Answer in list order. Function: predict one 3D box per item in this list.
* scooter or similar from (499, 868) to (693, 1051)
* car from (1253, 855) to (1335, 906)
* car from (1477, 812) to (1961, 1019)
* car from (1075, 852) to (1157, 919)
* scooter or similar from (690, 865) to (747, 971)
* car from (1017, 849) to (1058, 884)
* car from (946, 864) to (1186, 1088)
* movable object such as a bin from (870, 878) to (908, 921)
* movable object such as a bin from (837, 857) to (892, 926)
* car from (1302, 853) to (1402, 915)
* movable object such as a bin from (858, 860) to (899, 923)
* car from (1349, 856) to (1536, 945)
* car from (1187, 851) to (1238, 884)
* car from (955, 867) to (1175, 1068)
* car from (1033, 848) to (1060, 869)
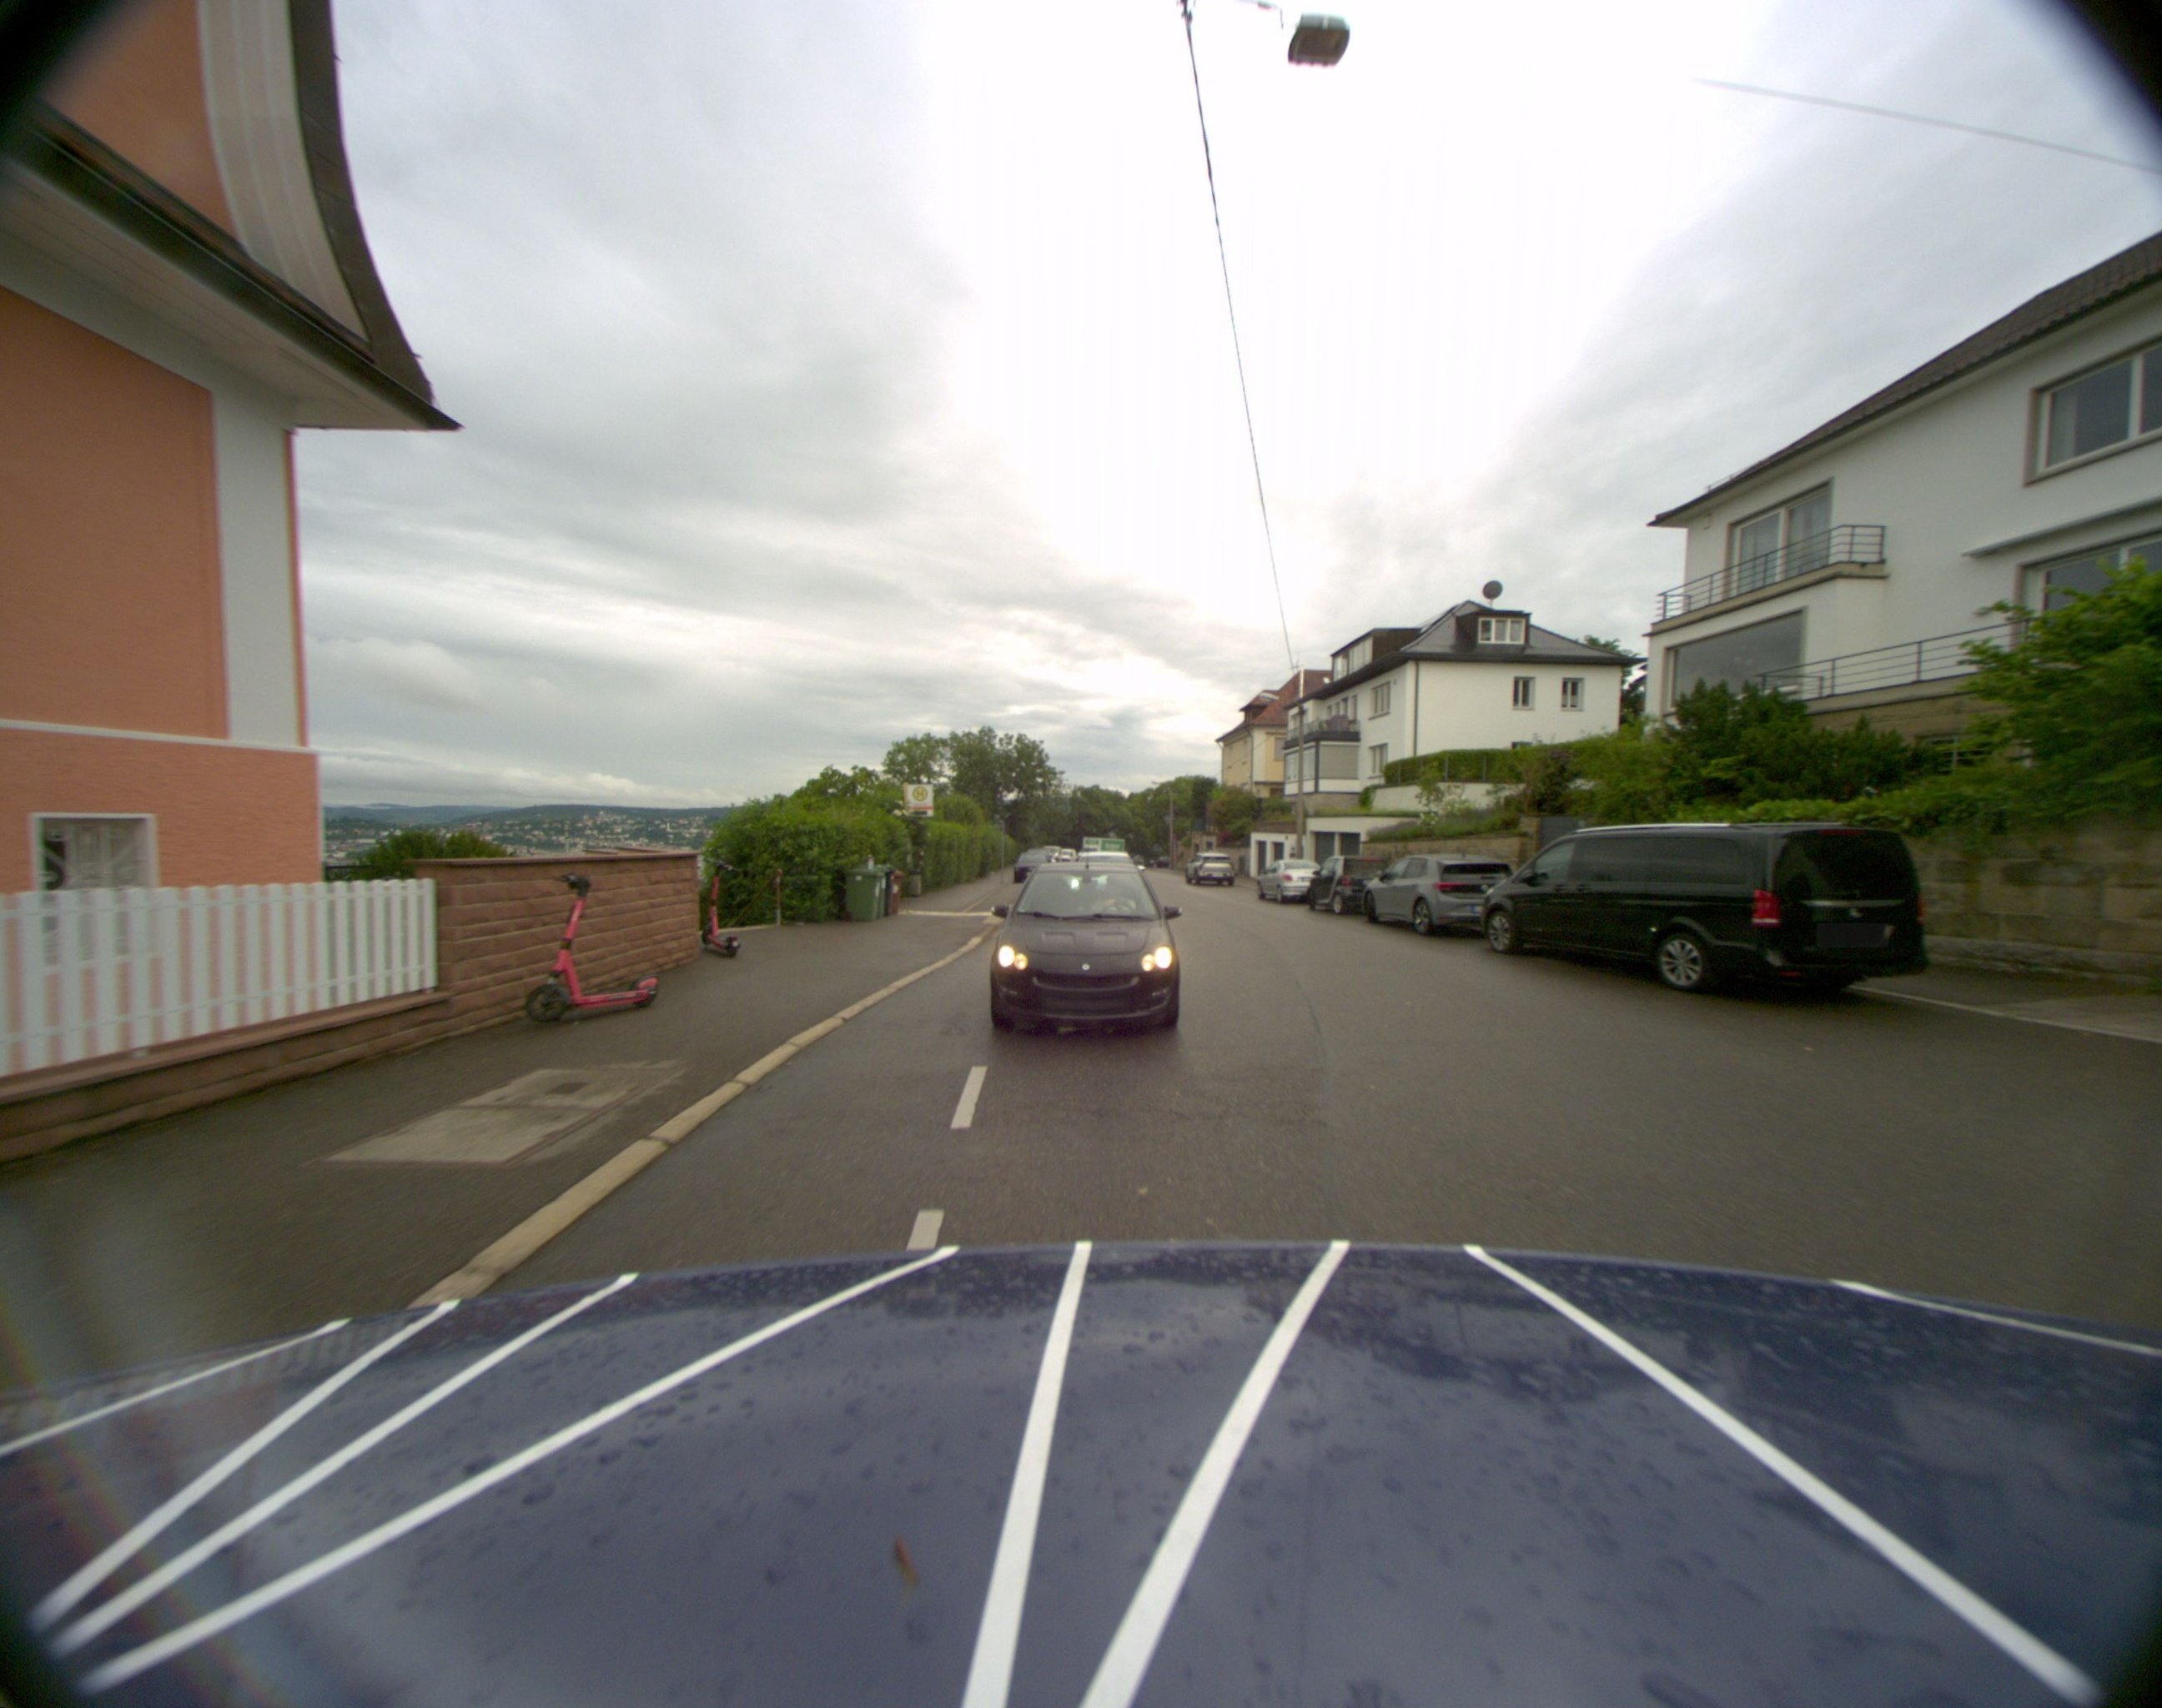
[{"bbox_3d":[-4.213,0.847,6.729,0.355,1.395,1.480,0,1,22],"label":"scooter or similar"},{"bbox_3d":[6.879,0.800,24.861,1.594,1.482,3.436,-2,1,-1],"label":"car"},{"bbox_3d":[7.523,0.576,9.820,1.999,1.946,4.772,-2,1,-4],"label":"car"},{"bbox_3d":[0.849,0.771,20.693,1.929,1.577,3.998,-1,1,-2],"label":"car"},{"bbox_3d":[-4.868,0.818,10.167,0.357,1.265,1.290,-2,4,-40],"label":"scooter or similar"},{"bbox_3d":[-2.170,0.592,38.600,1.929,1.577,3.998,-1,1,-2],"label":"car"},{"bbox_3d":[0.134,0.915,7.414,1.695,1.482,3.941,-2,1,7],"label":"car"},{"bbox_3d":[-4.081,0.959,16.183,0.613,0.859,0.589,-1,1,2],"label":"movable object such as a bin"},{"bbox_3d":[-4.172,0.701,14.717,0.726,1.239,0.917,3,1,2],"label":"movable object such as a bin"},{"bbox_3d":[7.150,0.744,20.285,1.522,1.482,2.893,-2,1,-2],"label":"car"},{"bbox_3d":[-4.117,0.746,15.516,0.613,1.239,0.684,-1,1,2],"label":"movable object such as a bin"},{"bbox_3d":[7.255,0.839,15.809,1.696,1.482,4.402,-2,1,-1],"label":"car"},{"bbox_3d":[6.459,0.622,37.728,1.869,1.492,3.999,-1,1,1],"label":"car"},{"bbox_3d":[0.104,0.926,7.950,1.710,1.414,4.001,-1,1,7],"label":"car"},{"bbox_3d":[-2.551,0.339,56.525,1.929,1.447,3.998,-1,1,-2],"label":"car"}]
